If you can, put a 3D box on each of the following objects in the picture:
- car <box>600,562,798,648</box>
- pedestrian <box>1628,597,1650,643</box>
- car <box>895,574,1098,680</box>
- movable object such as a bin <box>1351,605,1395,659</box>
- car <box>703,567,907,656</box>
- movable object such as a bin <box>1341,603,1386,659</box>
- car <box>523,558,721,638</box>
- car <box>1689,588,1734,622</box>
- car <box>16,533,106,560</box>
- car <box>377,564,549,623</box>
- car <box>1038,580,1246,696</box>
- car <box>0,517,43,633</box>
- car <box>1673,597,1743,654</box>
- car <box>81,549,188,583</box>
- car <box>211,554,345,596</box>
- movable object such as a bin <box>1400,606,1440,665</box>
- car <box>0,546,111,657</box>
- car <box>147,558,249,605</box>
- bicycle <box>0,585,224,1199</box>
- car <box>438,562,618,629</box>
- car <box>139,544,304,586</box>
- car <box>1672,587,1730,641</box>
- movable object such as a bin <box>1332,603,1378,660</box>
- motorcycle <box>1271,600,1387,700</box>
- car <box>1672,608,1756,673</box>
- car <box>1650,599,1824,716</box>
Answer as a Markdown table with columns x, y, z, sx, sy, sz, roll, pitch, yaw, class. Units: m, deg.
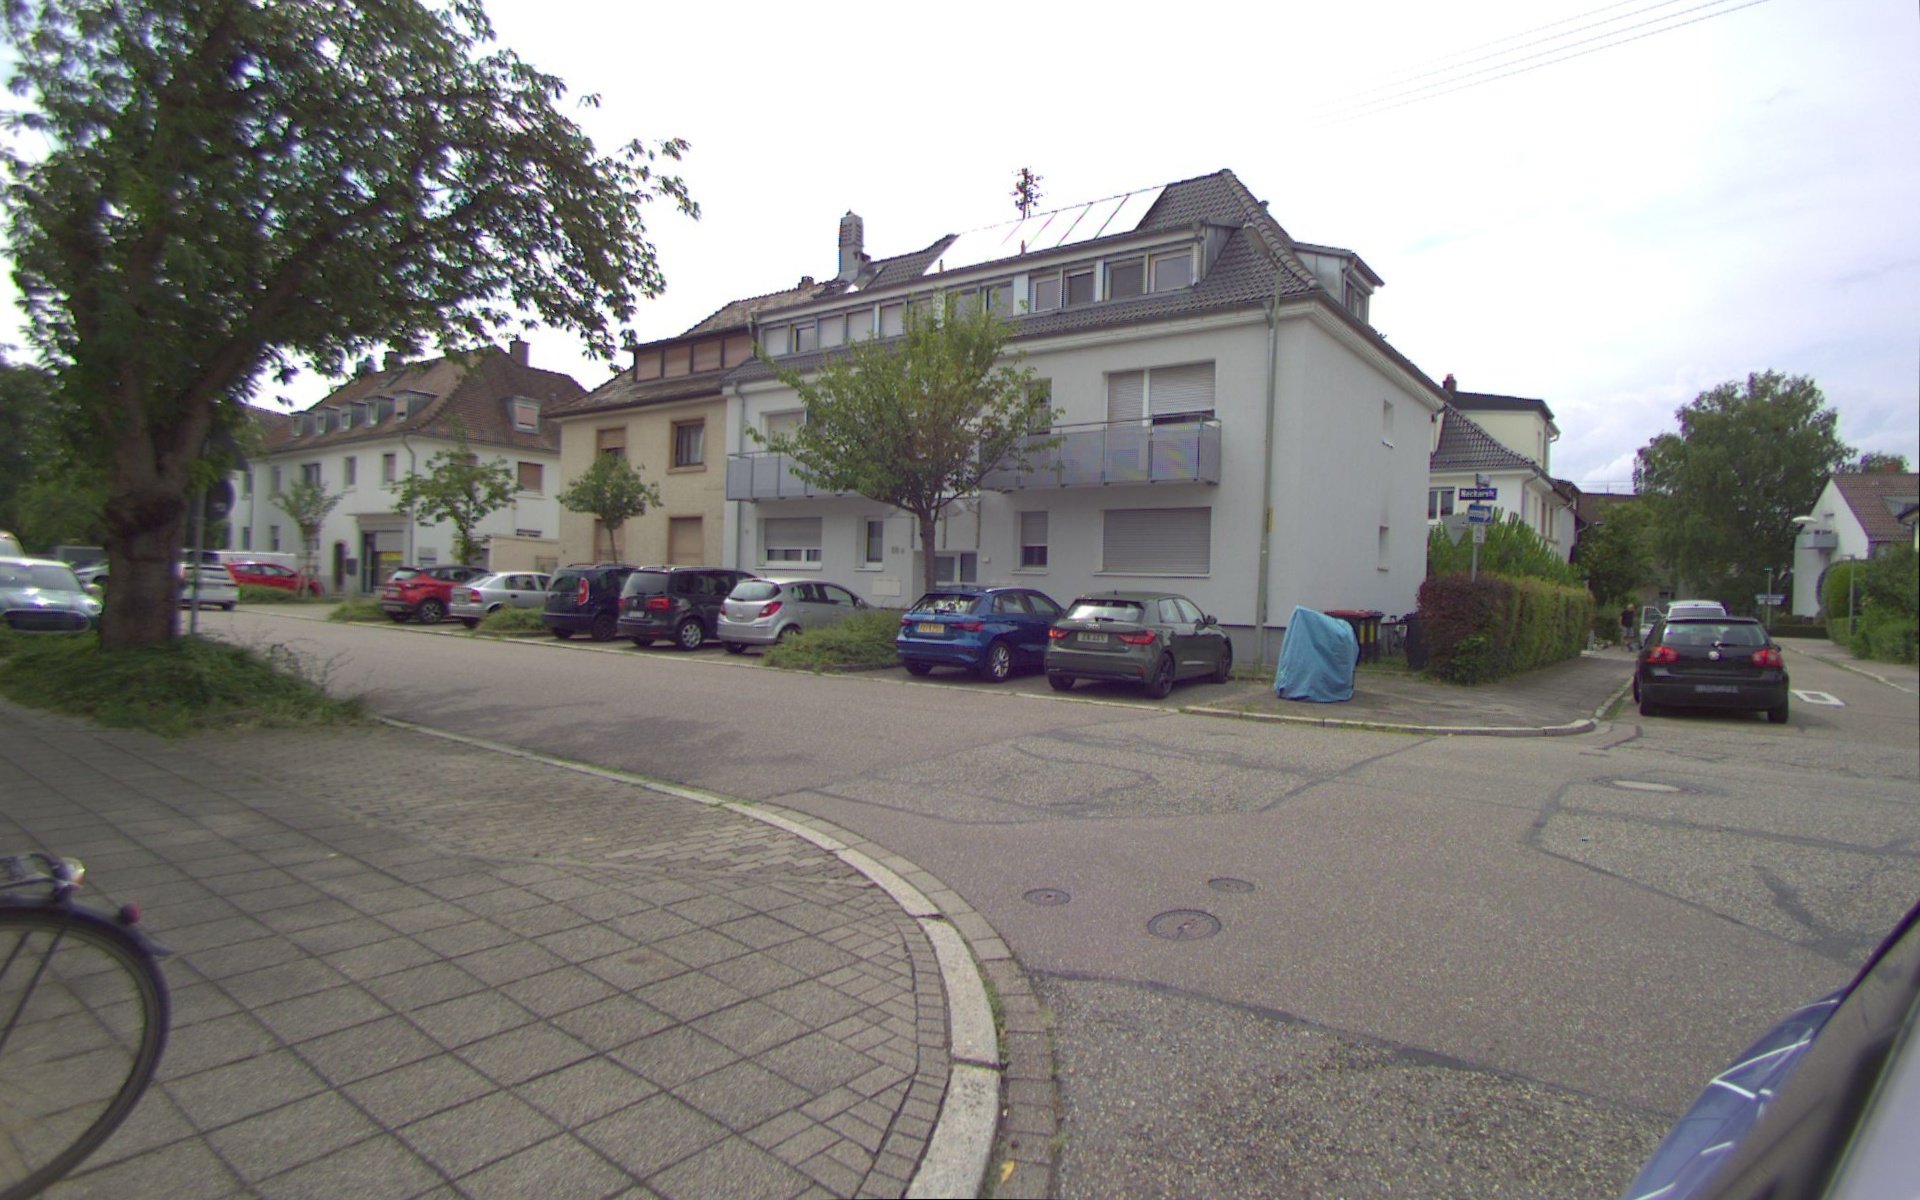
| x | y | z | sx | sy | sz | roll | pitch | yaw | class |
| --- | --- | --- | --- | --- | --- | --- | --- | --- | --- |
| -5.322 | 0.015 | 20.986 | 1.764 | 1.583 | 3.709 | 2 | 3 | 38 | car |
| 26.253 | 0.772 | 39.137 | 0.554 | 1.740 | 0.609 | 2 | 0 | 26 | pedestrian |
| 0.674 | 0.335 | 16.215 | 1.550 | 1.429 | 3.482 | 2 | 3 | 37 | car |
| 8.156 | 0.620 | 19.985 | 0.695 | 1.020 | 0.514 | 2 | 1 | 35 | movable object such as a bin |
| -2.963 | 0.133 | 20.045 | 1.713 | 1.537 | 3.948 | 2 | 3 | 37 | car |
| 7.779 | 0.587 | 19.516 | 0.695 | 1.020 | 0.514 | 2 | 1 | 35 | movable object such as a bin |
| -7.594 | -0.125 | 23.032 | 1.857 | 1.637 | 3.946 | 2 | 3 | 38 | car |
| 43.948 | 0.252 | 59.271 | 1.899 | 1.754 | 3.723 | 2 | 3 | 34 | car |
| -49.712 | -2.959 | 56.004 | 1.590 | 1.442 | 3.494 | 2 | 3 | 38 | car |
| -13.609 | -0.242 | 27.891 | 1.713 | 1.456 | 3.948 | 2 | 3 | 37 | car |
| 2.802 | 0.446 | 14.973 | 1.760 | 1.382 | 3.717 | 2 | 3 | 33 | car |
| -18.905 | -0.518 | 18.787 | 4.495 | 2.039 | 1.973 | 2 | 1 | 37 | car |
| 25.984 | 0.827 | 35.246 | 1.795 | 1.817 | 3.766 | 2 | 1 | 35 | car |
| -37.578 | -1.569 | 46.127 | 1.590 | 1.442 | 3.494 | 2 | 3 | 38 | car |
| -26.129 | -1.003 | 38.895 | 1.713 | 1.537 | 3.948 | 2 | 3 | 37 | car |
| 8.364 | 0.634 | 18.397 | 0.544 | 1.020 | 0.605 | 2 | 1 | 33 | movable object such as a bin |
| -14.801 | -0.057 | 15.845 | 3.715 | 1.573 | 1.743 | 3 | 3 | 41 | car |
| -24.076 | -0.616 | 31.945 | 3.807 | 1.370 | 1.669 | 2 | 3 | 39 | car |
| -2.139 | 0.598 | 1.518 | 0.432 | 1.193 | 1.620 | 2 | 3 | 33 | bicycle |
| -11.023 | -0.181 | 26.043 | 1.713 | 1.537 | 3.948 | 2 | 3 | 37 | car |
| -28.759 | -1.394 | 39.565 | 1.758 | 1.537 | 4.929 | 2 | 3 | 35 | car |
| 28.313 | 0.511 | 38.757 | 1.653 | 1.927 | 3.766 | 2 | 1 | 35 | car |
| 7.452 | 0.578 | 19.083 | 0.695 | 1.020 | 0.514 | 2 | 1 | 35 | movable object such as a bin |
| 5.074 | 0.629 | 13.815 | 0.934 | 1.226 | 2.172 | 2 | 1 | 35 | motorcycle |
| 20.290 | 1.017 | 27.339 | 1.653 | 1.536 | 3.766 | 2 | 1 | 35 | car |
| 11.511 | 0.750 | 15.220 | 1.651 | 1.461 | 3.771 | 2 | 1 | 32 | car |
